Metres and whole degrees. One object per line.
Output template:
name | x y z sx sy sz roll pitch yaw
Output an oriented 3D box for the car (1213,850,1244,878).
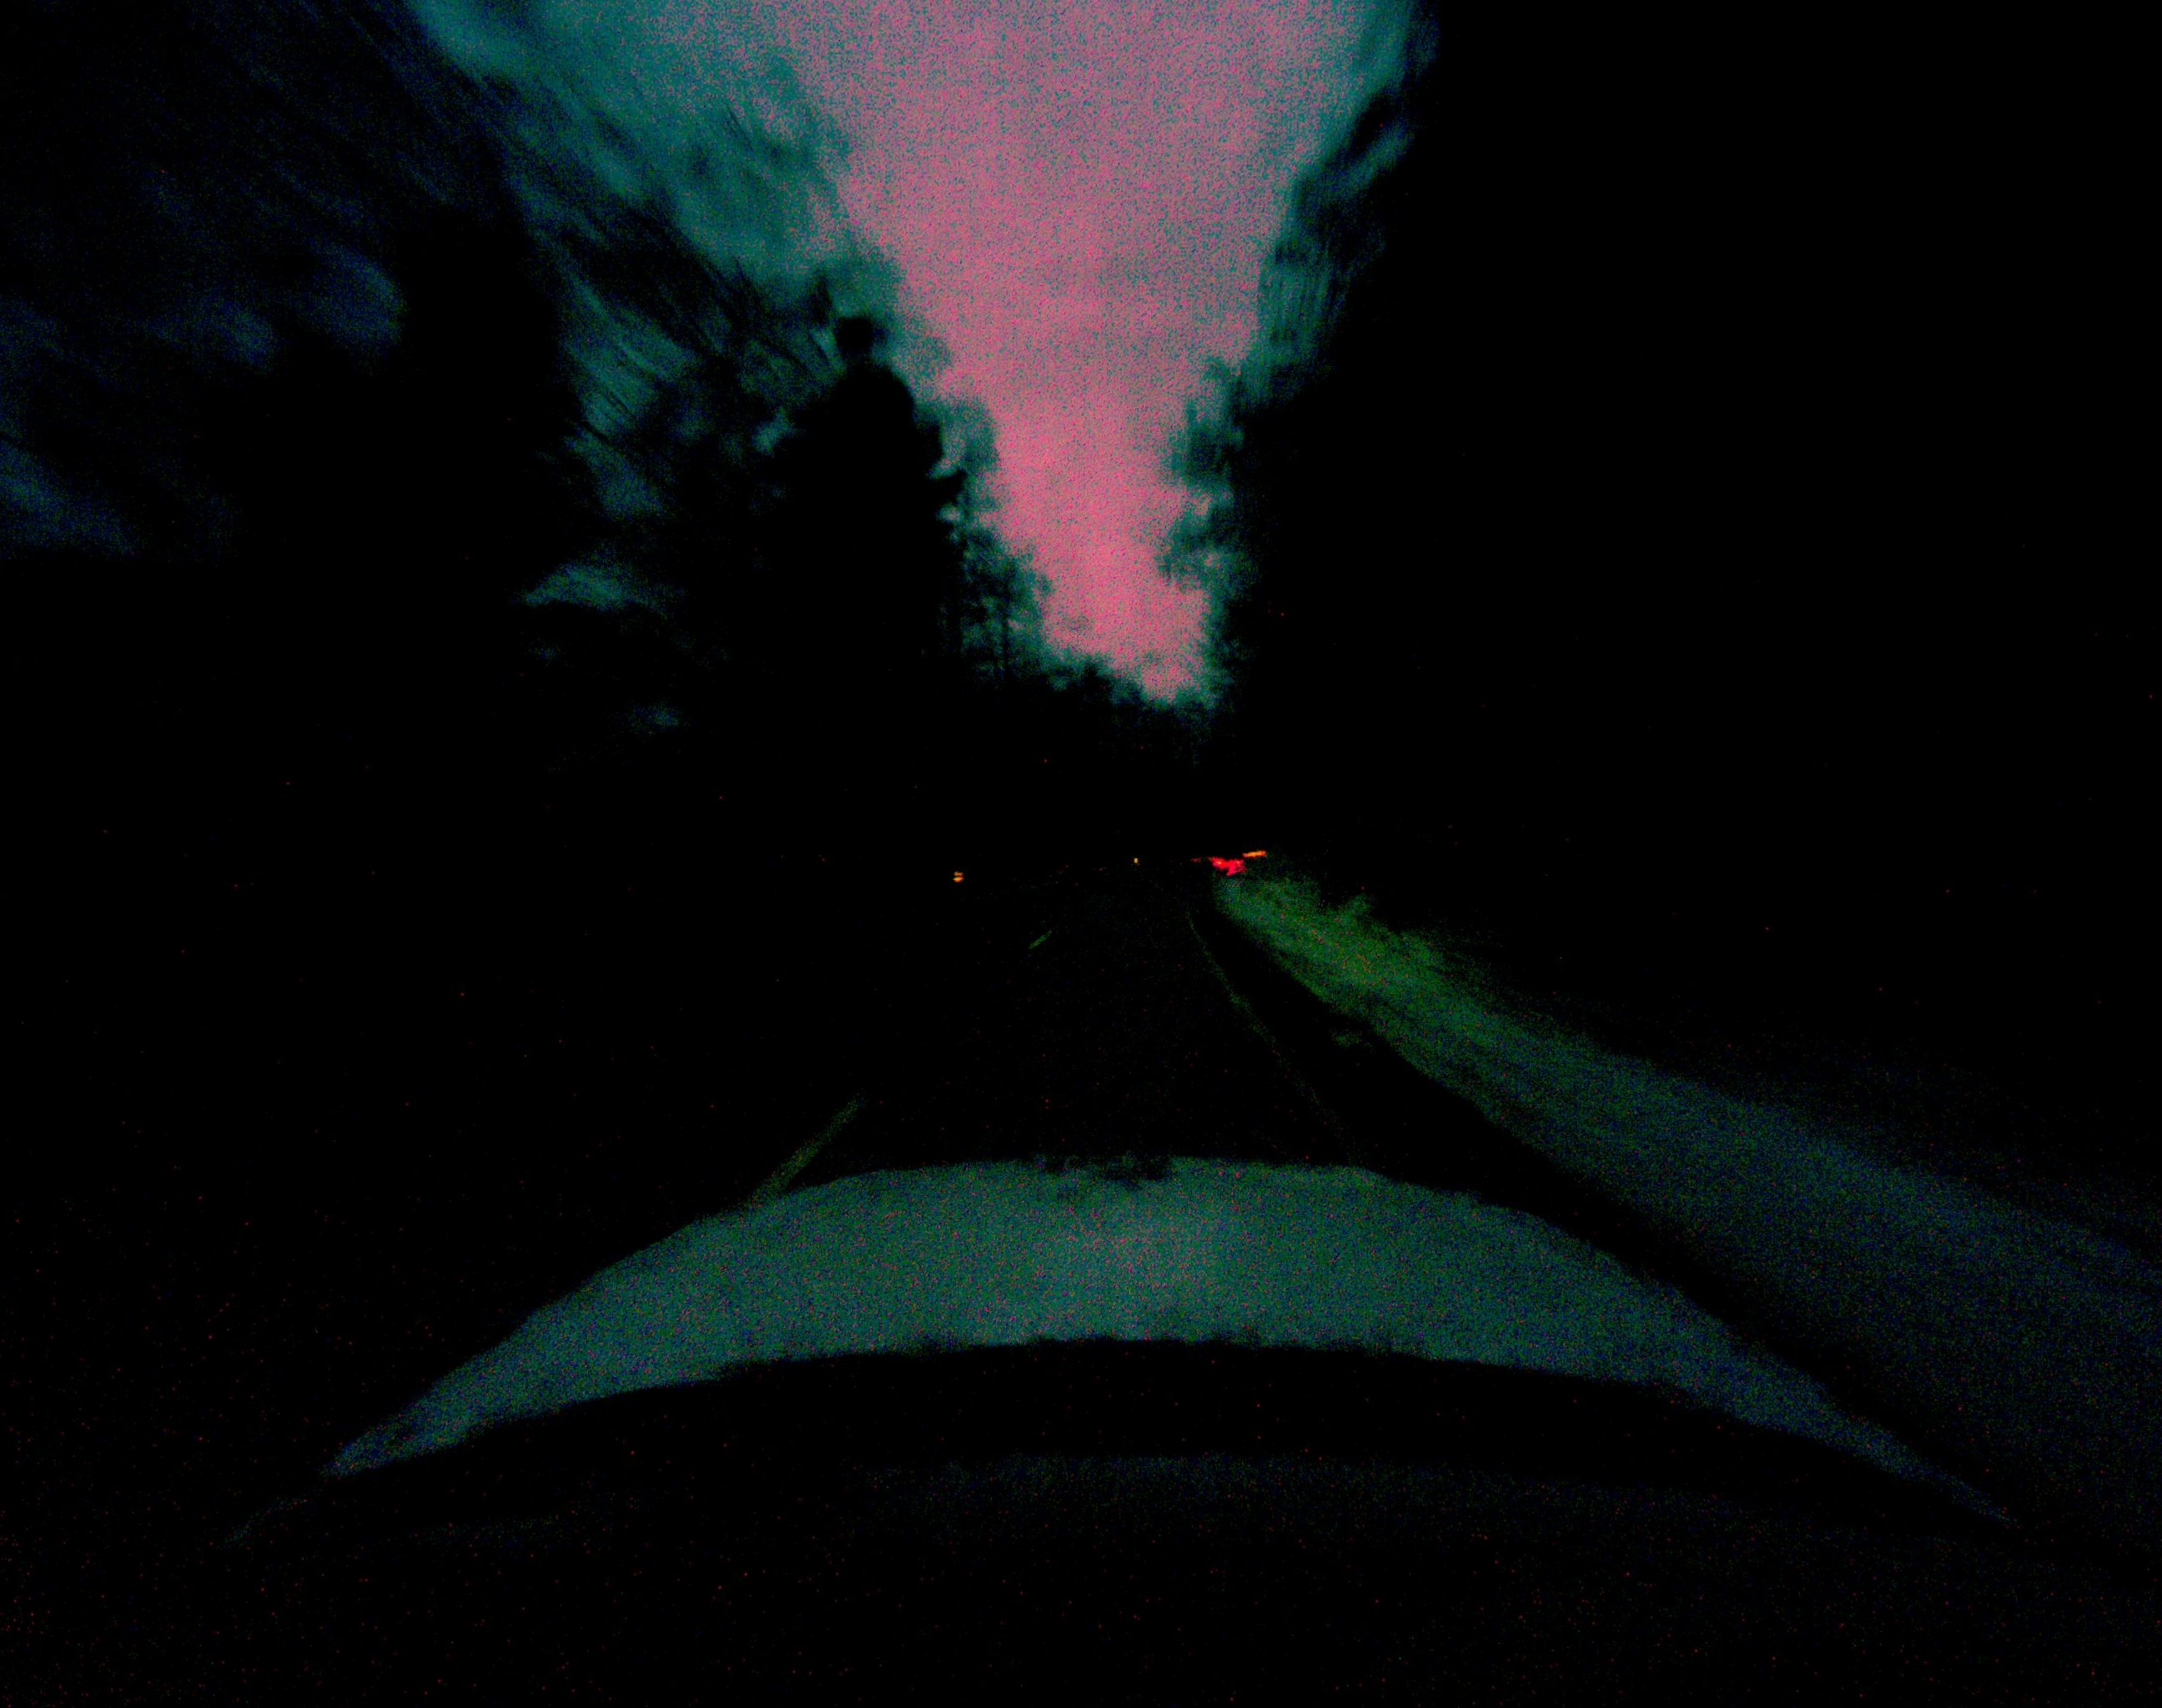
car | 10.684 0.695 58.863 1.980 1.872 4.014 -2 0 13
